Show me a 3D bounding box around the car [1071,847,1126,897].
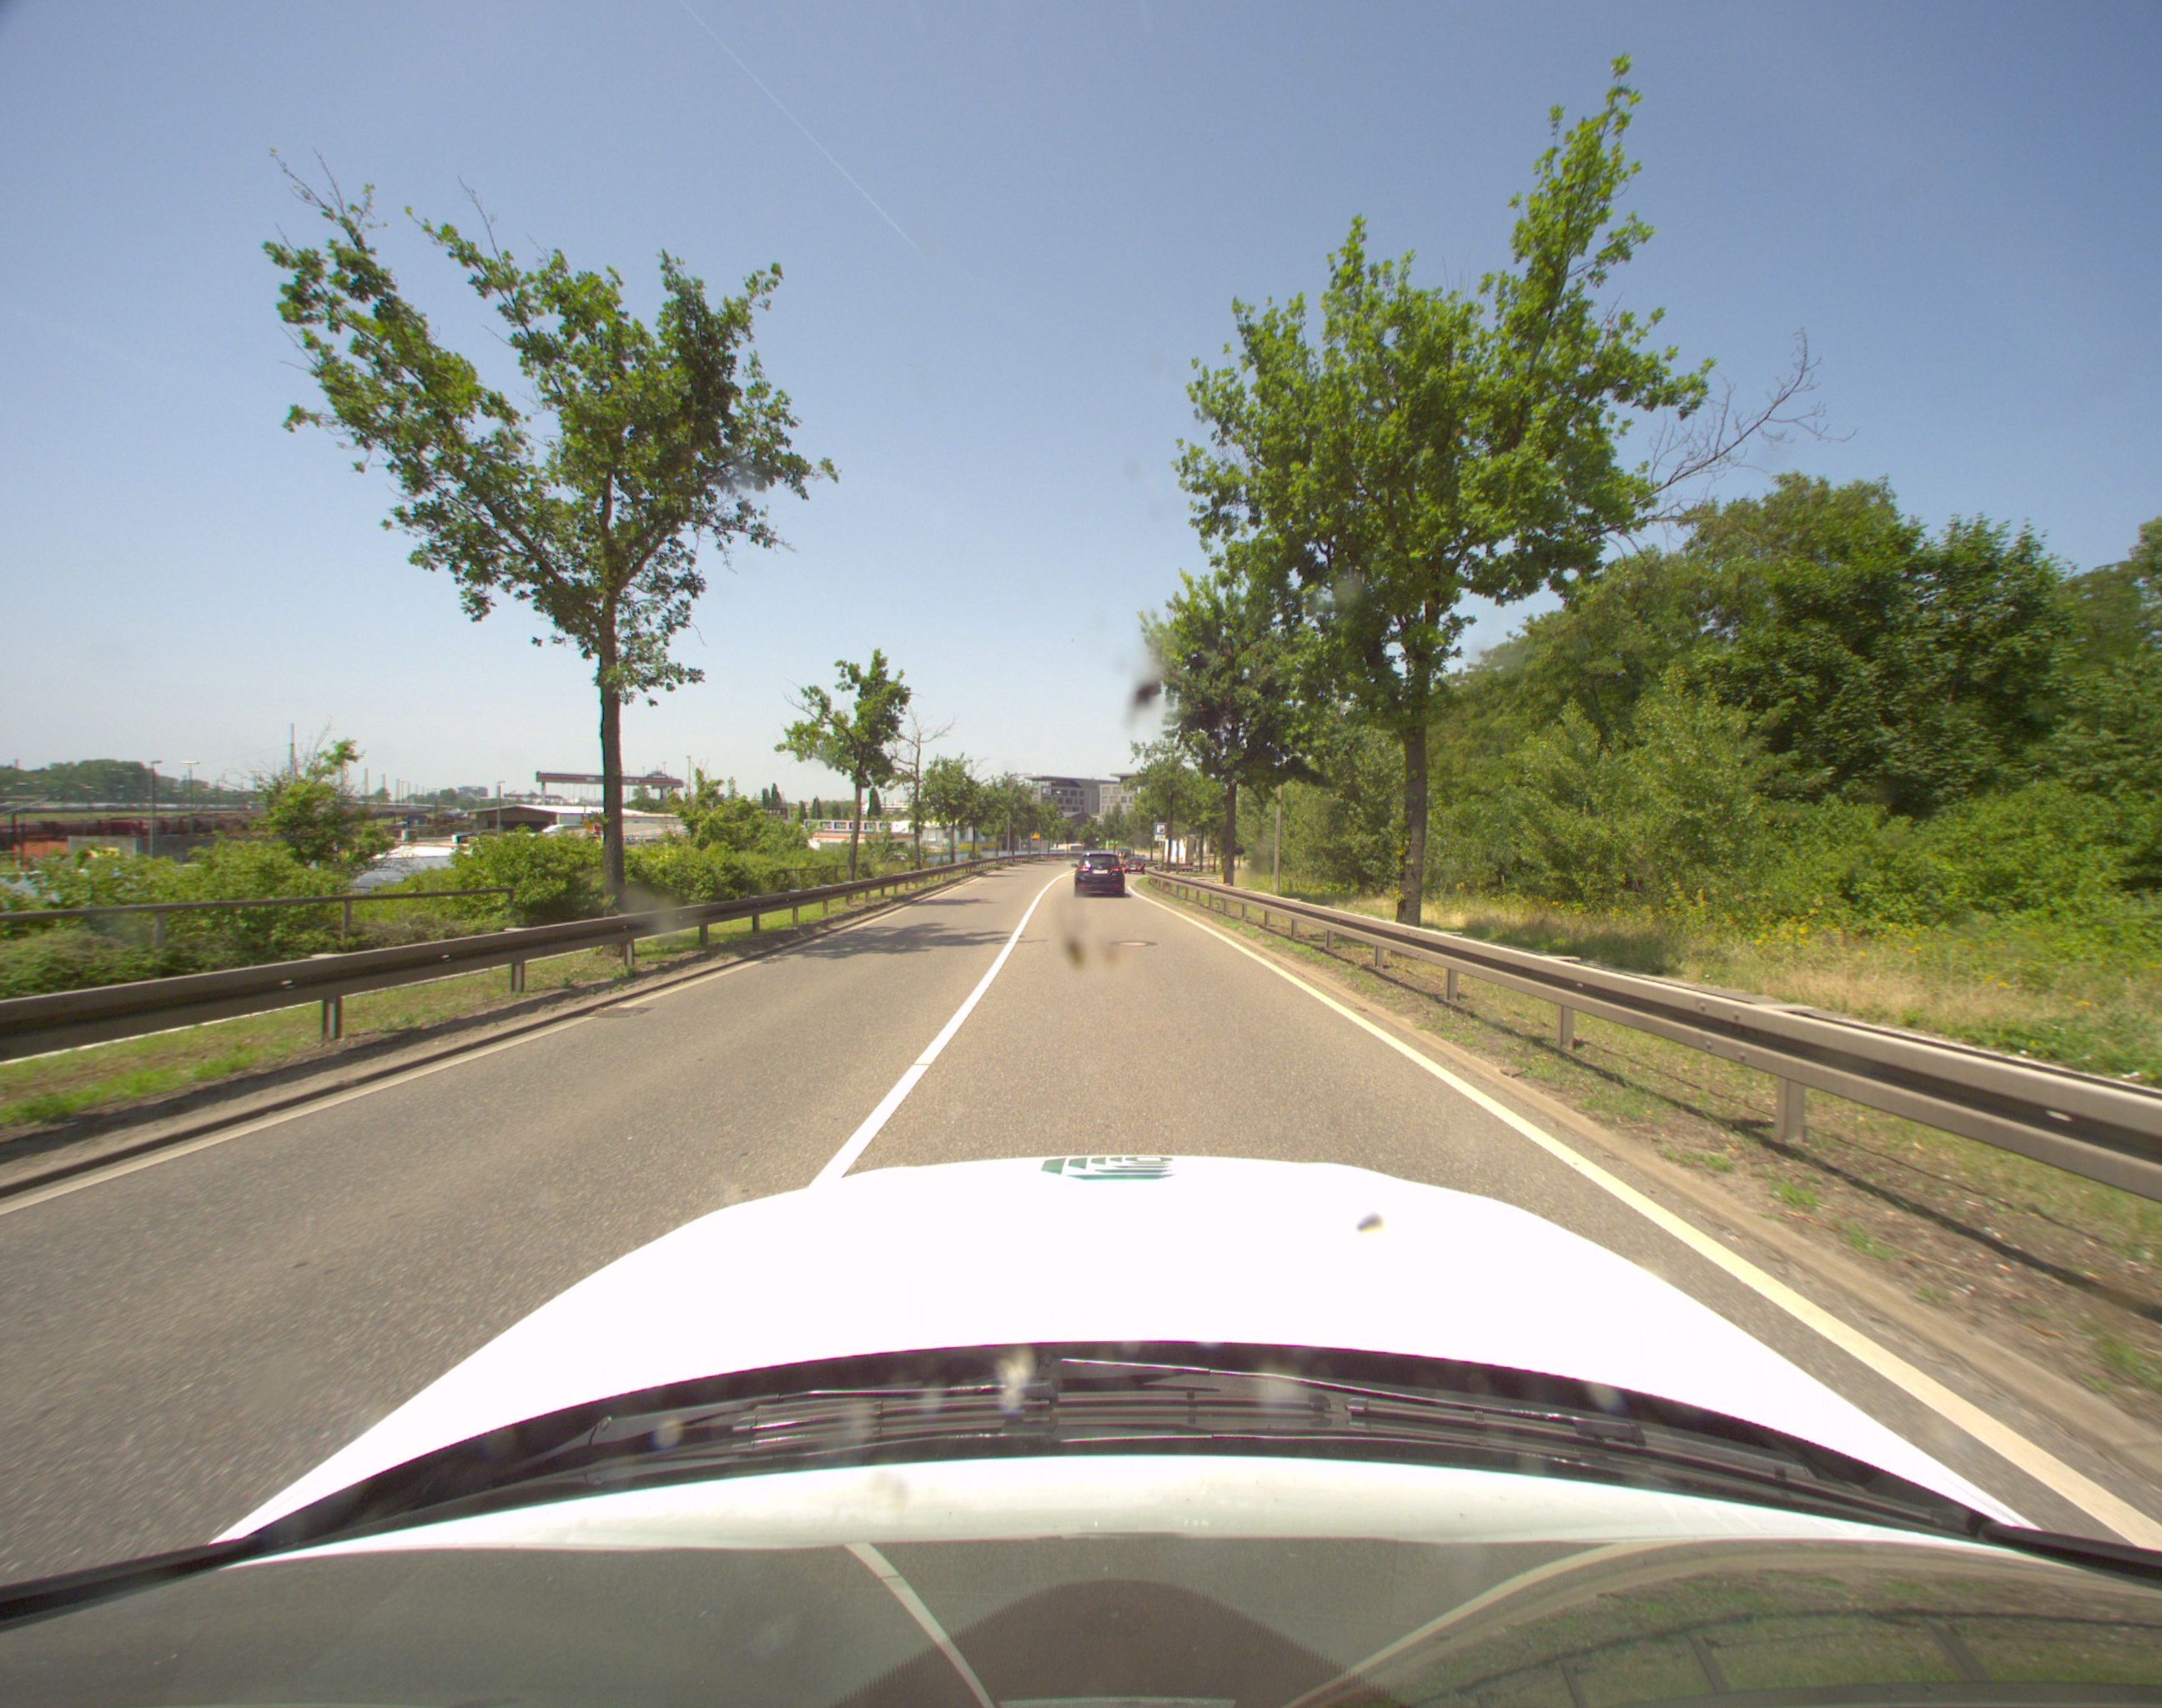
[{"bbox_3d":[0.572,0.596,29.637,1.762,1.599,4.075,2,1,-2],"label":"car"}]

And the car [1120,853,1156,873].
[{"bbox_3d":[4.800,0.746,68.151,1.941,1.633,4.300,1,0,18],"label":"car"}]

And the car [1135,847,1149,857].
[{"bbox_3d":[11.851,-0.387,157.287,1.793,1.759,4.271,2,0,17],"label":"car"}]

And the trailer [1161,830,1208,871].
[{"bbox_3d":[12.146,-0.542,93.834,3.055,4.367,14.838,2,2,16],"label":"trailer"}]
